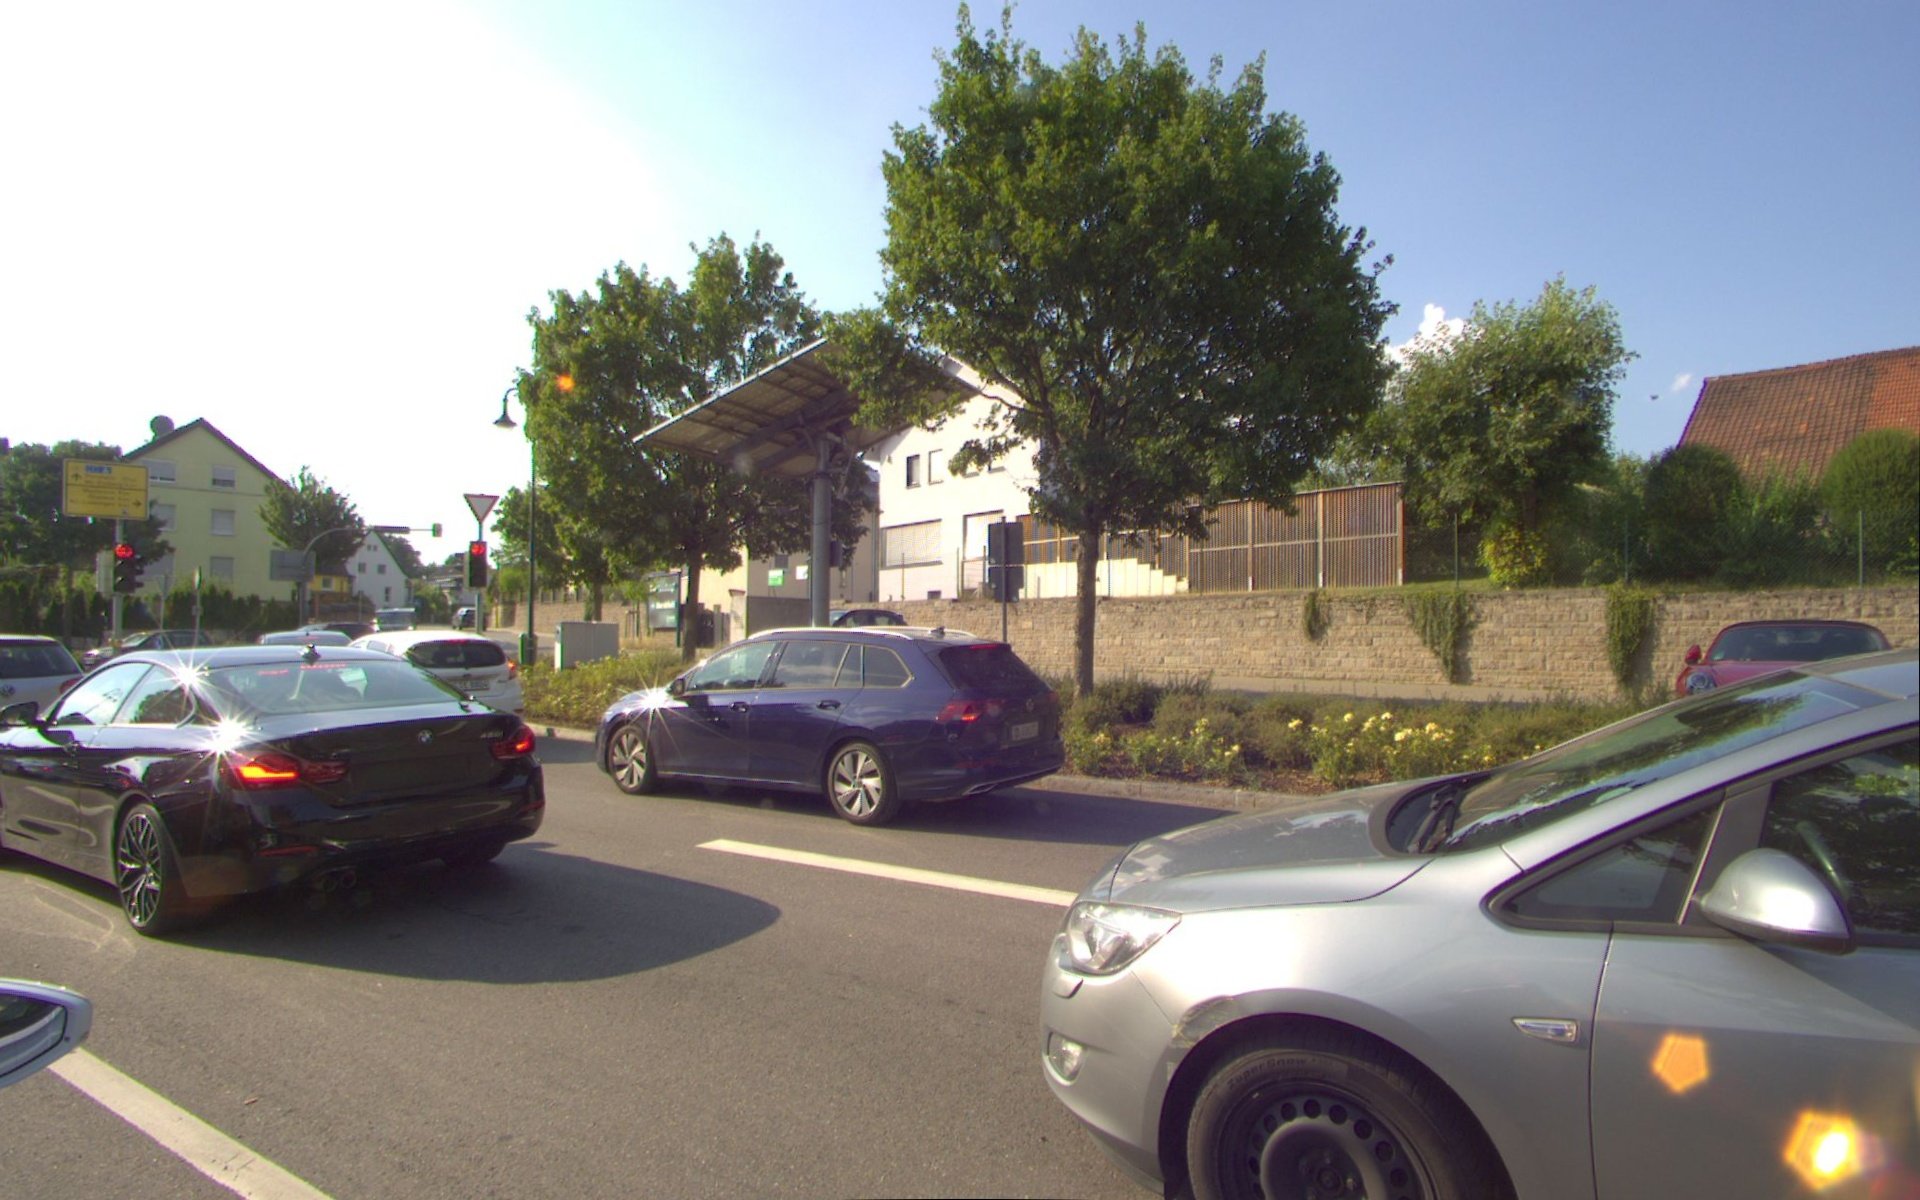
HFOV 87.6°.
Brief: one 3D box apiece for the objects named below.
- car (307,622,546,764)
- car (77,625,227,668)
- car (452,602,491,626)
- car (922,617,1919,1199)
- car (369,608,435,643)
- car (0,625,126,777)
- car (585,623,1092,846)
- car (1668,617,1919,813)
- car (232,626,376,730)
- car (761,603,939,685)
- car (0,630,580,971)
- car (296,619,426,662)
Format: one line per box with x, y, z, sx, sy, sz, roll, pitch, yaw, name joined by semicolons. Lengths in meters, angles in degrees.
-6.918;1.081;12.893;3.278;1.562;1.611;-1;0;40;car
-30.071;1.717;37.371;1.821;1.508;3.983;-1;-2;30;car
-36.095;1.017;73.922;1.946;1.701;4.187;0;-1;-35;car
2.172;0.784;2.166;4.256;1.472;1.758;-1;0;31;car
-29.214;1.348;52.590;1.815;1.761;4.779;1;-2;-14;car
-10.806;1.012;10.785;3.848;1.444;1.758;-1;0;33;car
-1.167;0.950;8.661;4.259;1.472;1.757;-1;0;34;car
8.225;0.953;9.749;1.758;1.510;4.120;-1;-2;41;car
-11.753;1.272;17.820;1.643;1.562;4.362;-1;0;-40;car
-2.377;0.962;22.302;1.758;1.653;3.800;-1;-2;40;car
-4.435;0.915;6.191;4.220;1.416;1.758;-1;0;33;car
-24.411;1.654;41.017;1.816;1.662;4.423;0;-2;20;car
